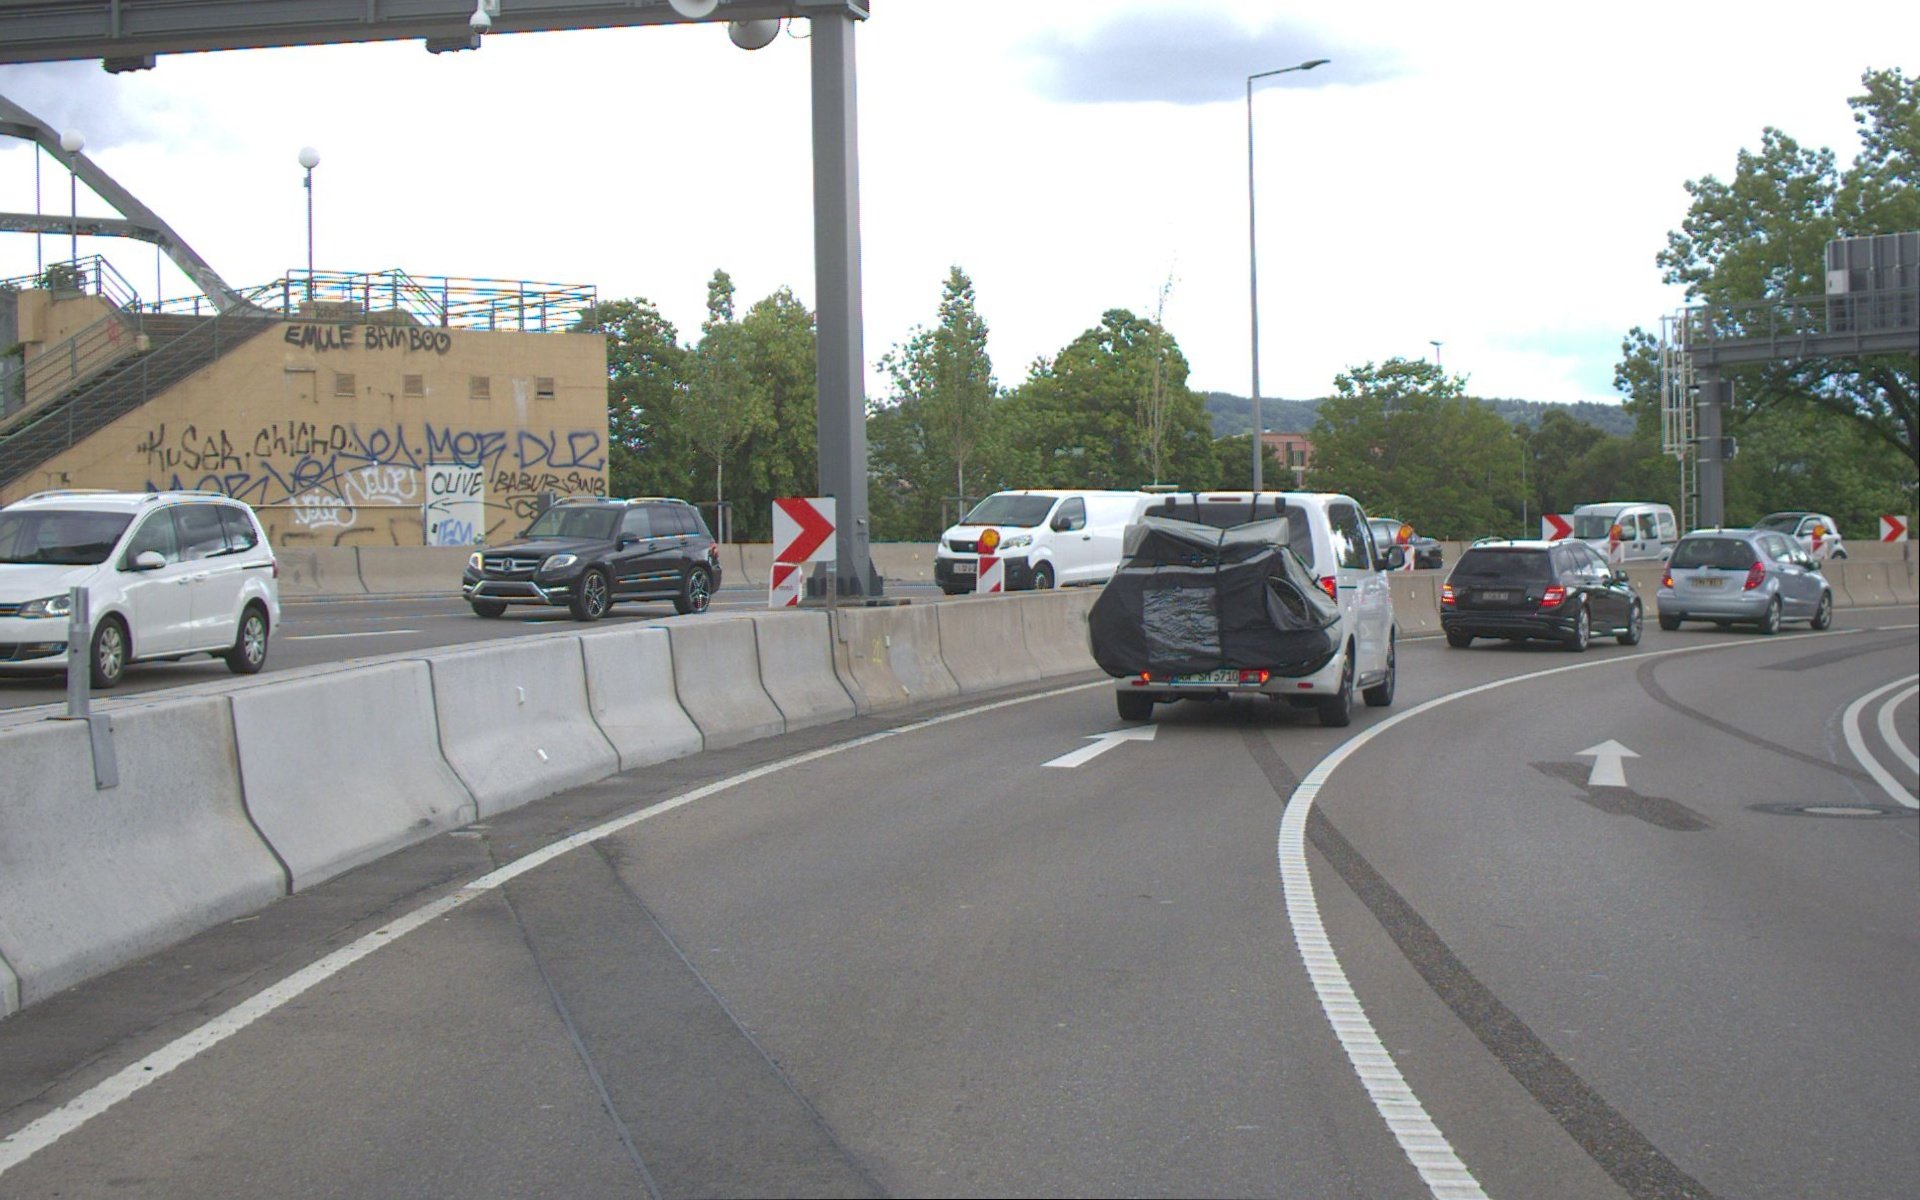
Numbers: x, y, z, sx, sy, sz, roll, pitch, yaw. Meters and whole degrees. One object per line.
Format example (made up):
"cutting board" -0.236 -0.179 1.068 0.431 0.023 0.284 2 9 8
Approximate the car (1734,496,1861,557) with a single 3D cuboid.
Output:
"car" 20.702 -1.810 84.948 2.932 1.470 1.630 -1 2 -41

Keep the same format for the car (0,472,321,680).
"car" -7.805 -0.241 31.558 1.951 1.744 5.272 0 1 12

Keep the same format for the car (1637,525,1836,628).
"car" 11.971 -0.388 52.837 1.924 1.483 4.059 1 2 29

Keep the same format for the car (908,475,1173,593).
"car" 1.453 -1.138 59.273 2.241 1.945 5.095 1 1 33

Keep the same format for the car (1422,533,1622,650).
"car" 7.362 -0.139 44.770 1.816 1.429 4.061 -1 1 20

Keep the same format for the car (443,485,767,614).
"car" -4.882 -0.727 47.969 1.997 1.689 4.919 1 2 30

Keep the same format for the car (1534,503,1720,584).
"car" 14.345 -1.228 73.794 1.998 1.680 4.249 1 2 42

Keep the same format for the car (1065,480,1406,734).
"car" 2.403 -0.010 28.446 1.994 1.852 5.638 1 1 13
